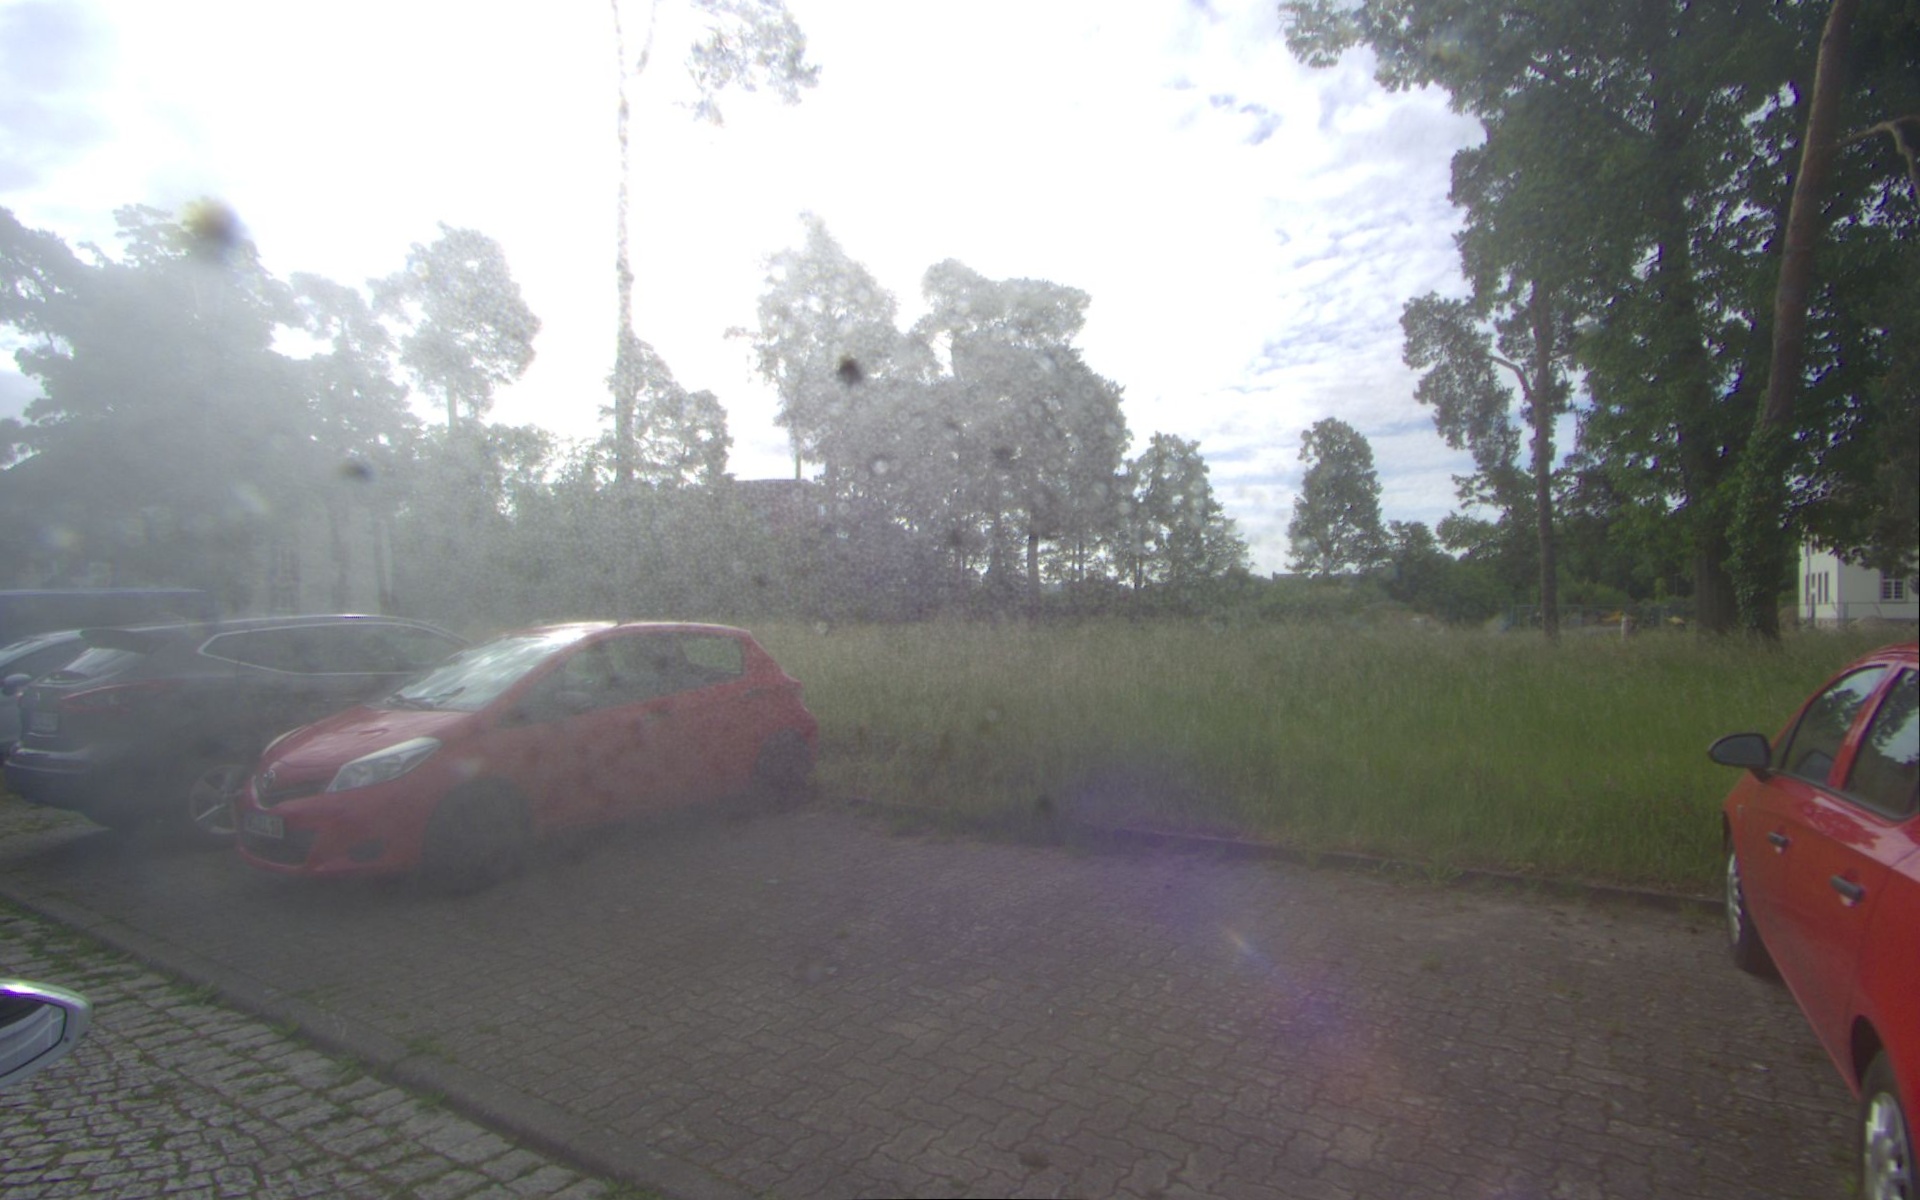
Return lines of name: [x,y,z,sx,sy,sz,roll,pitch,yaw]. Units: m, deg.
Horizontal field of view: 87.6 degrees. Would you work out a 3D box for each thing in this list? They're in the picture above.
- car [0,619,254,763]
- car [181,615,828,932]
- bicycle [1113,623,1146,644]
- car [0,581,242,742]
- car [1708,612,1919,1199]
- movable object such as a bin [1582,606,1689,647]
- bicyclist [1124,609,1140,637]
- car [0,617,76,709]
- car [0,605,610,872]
car: [-10.523,0.997,11.457,1.591,1.469,3.666,-1,0,30]
car: [-2.820,0.896,7.001,1.726,1.479,3.783,-1,0,33]
bicycle: [10.504,2.065,62.003,1.906,1.244,0.721,-1,-1,34]
car: [-12.528,0.773,13.064,1.903,1.980,4.745,-1,0,31]
car: [3.387,0.808,2.799,1.754,1.479,3.817,-1,0,32]
movable object such as a bin: [46.200,1.849,68.688,2.139,2.689,5.963,1,-2,-21]
bicyclist: [10.630,1.444,61.955,0.762,1.717,0.723,0,-1,34]
car: [-16.804,1.063,16.037,1.501,1.469,3.665,-1,0,31]
car: [-5.104,0.862,8.260,1.725,1.573,4.022,-1,0,30]
